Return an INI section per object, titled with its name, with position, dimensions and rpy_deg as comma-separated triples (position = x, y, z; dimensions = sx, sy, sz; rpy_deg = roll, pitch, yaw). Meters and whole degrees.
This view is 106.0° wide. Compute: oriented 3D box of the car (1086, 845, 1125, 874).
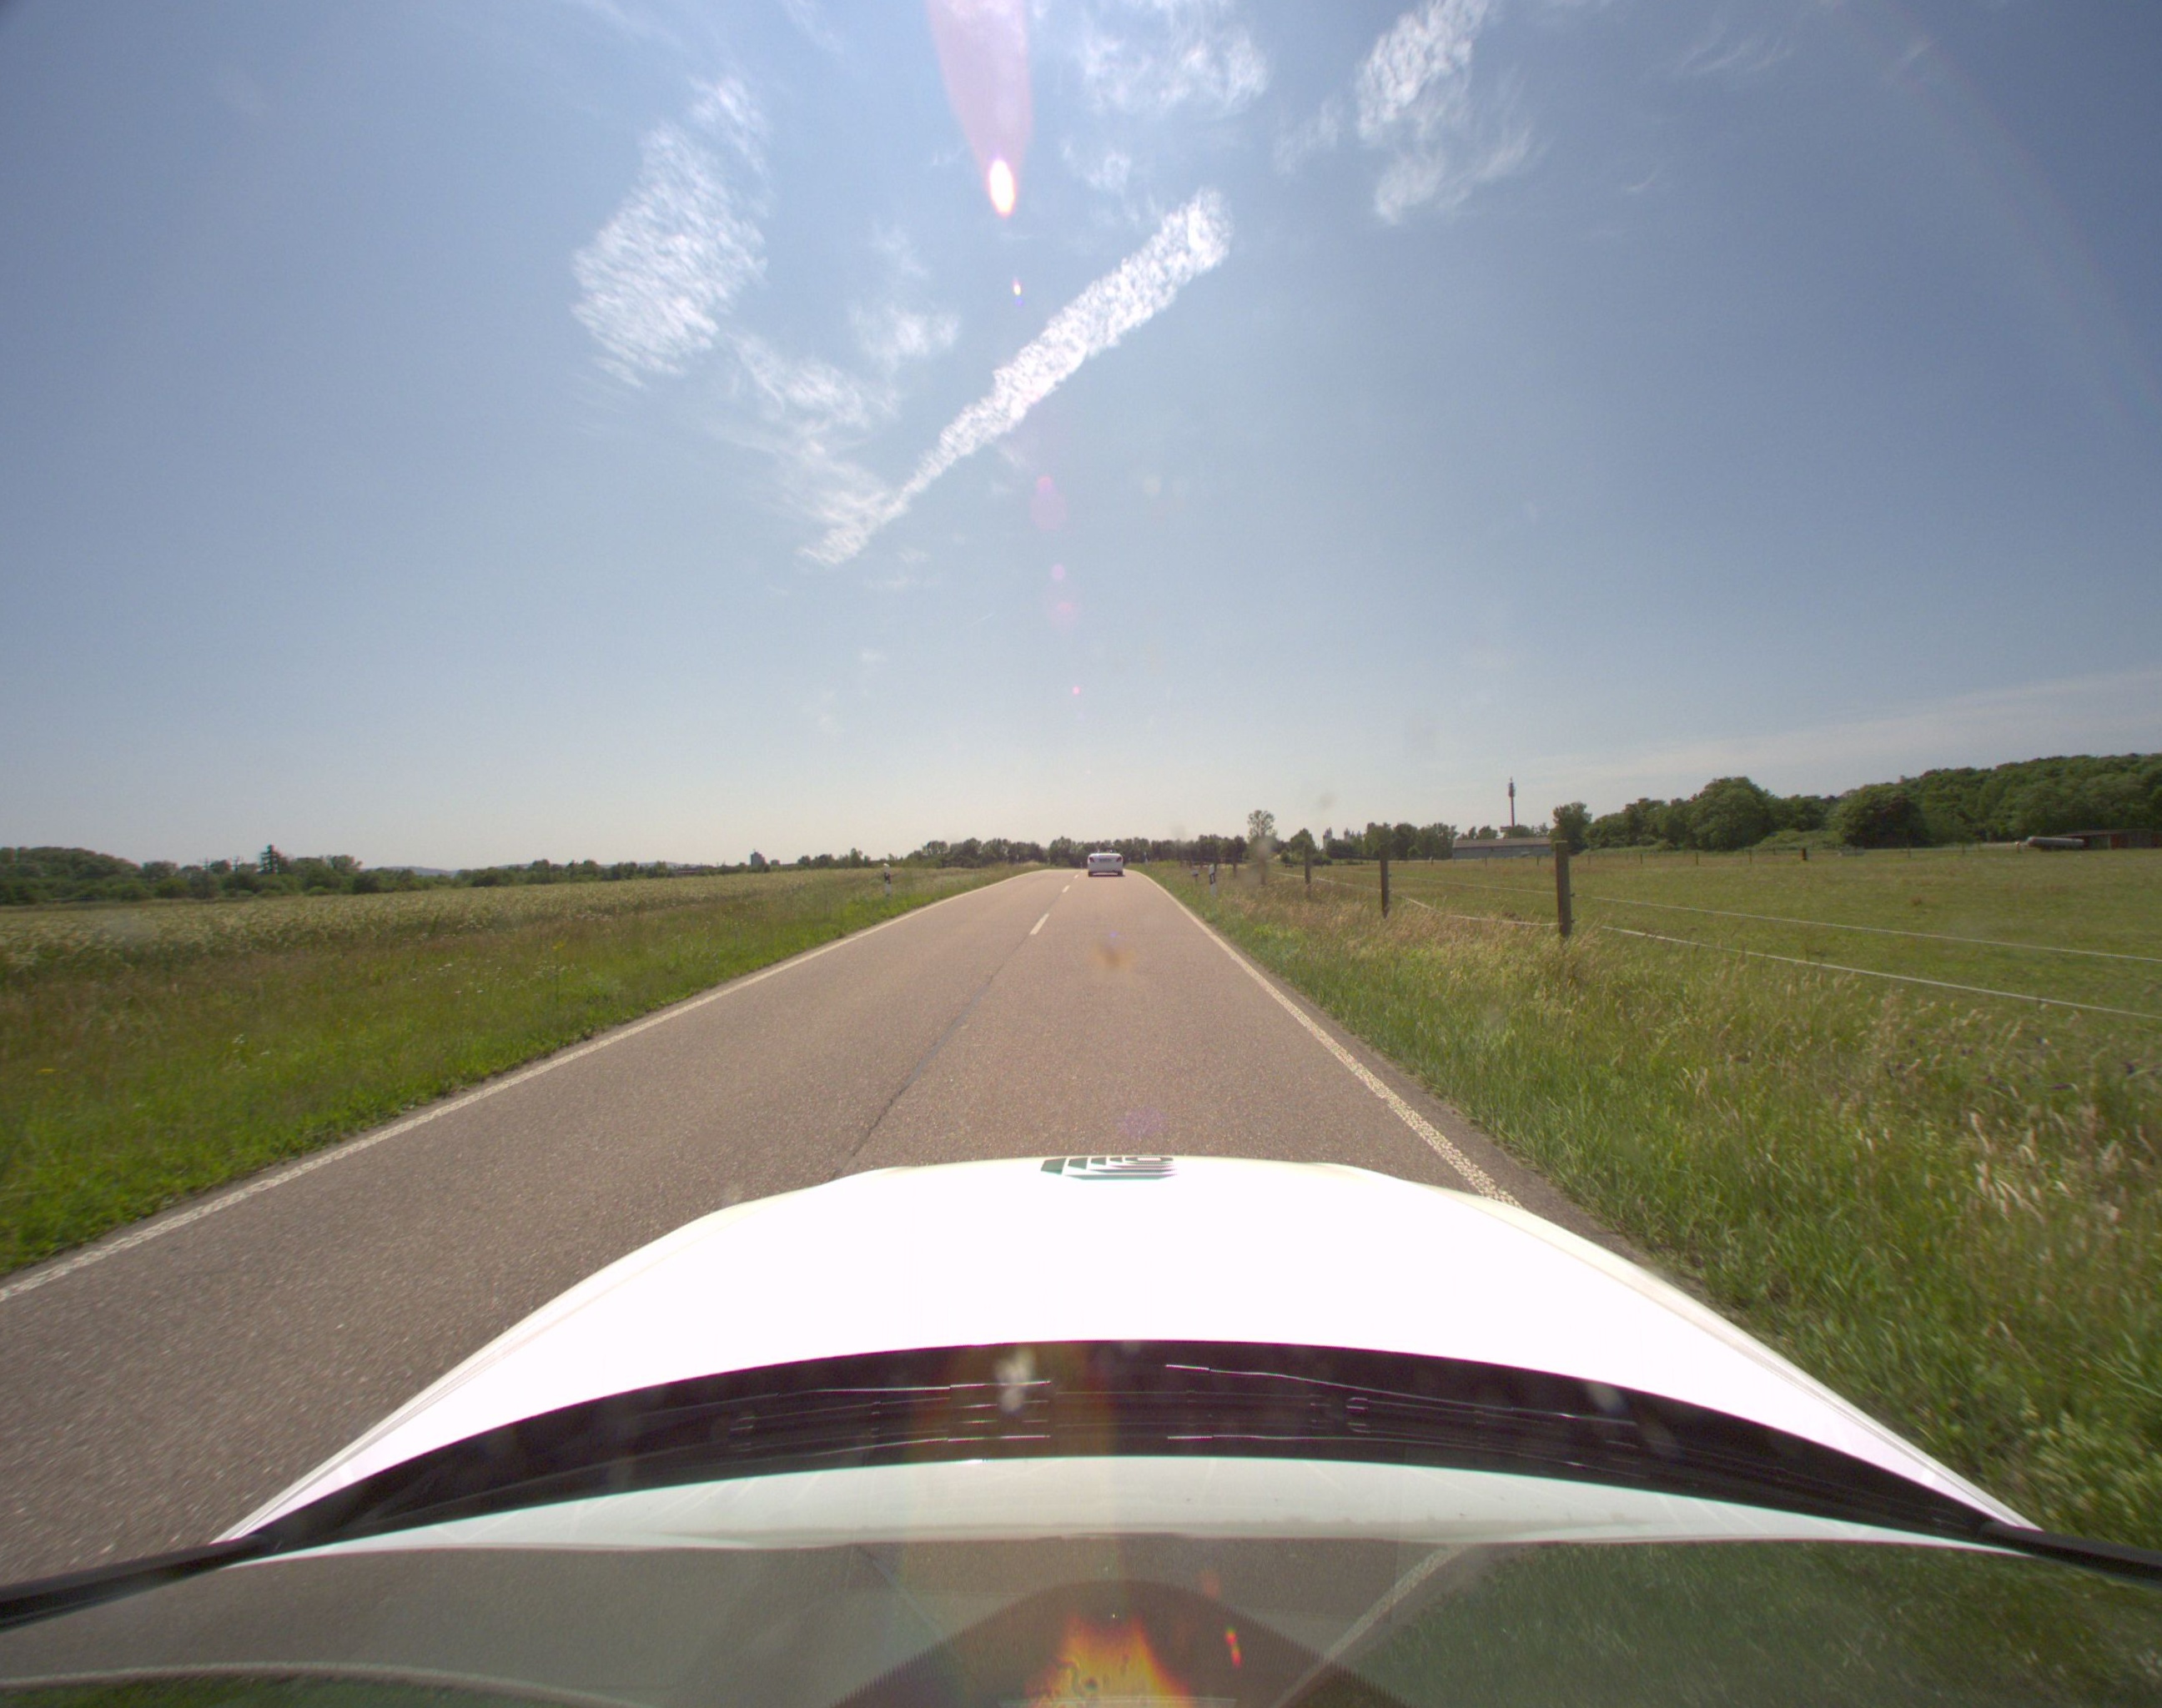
[car]
position = 1.232, 0.243, 40.380
dimensions = 1.844, 1.379, 4.002
rpy_deg = 0, 0, 2
